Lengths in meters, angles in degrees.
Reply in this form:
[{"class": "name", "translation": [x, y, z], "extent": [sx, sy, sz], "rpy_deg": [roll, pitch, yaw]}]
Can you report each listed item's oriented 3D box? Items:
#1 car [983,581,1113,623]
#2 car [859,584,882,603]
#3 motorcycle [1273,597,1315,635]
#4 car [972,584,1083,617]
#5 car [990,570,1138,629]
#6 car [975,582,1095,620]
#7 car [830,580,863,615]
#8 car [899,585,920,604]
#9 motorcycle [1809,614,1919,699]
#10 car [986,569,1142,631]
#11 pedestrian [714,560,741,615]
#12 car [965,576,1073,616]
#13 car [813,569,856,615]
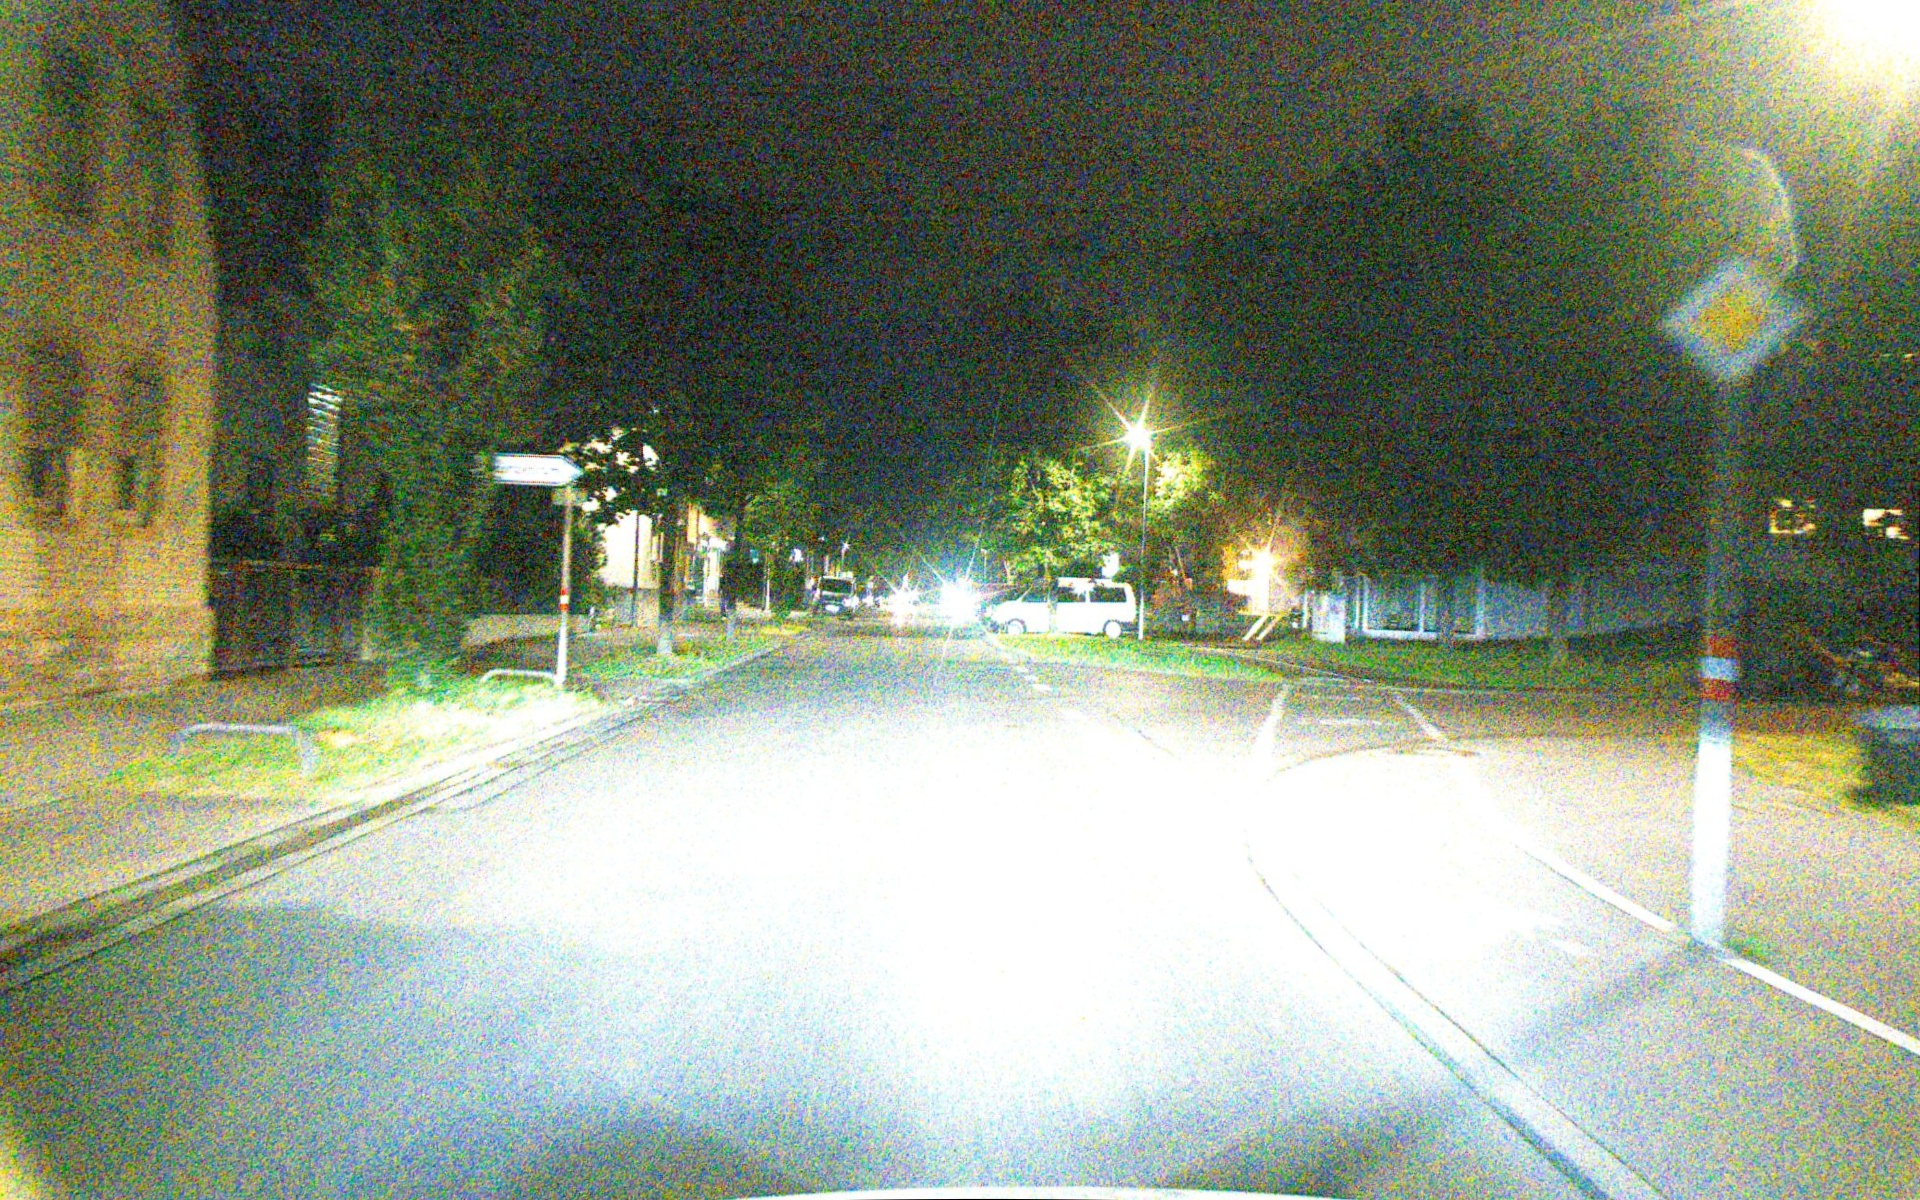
[{"class": "car", "translation": [3.538, 0.071, 67.000], "extent": [5.078, 1.622, 2.101], "rpy_deg": [0, 0, -3]}, {"class": "car", "translation": [-6.924, -0.512, 128.105], "extent": [1.649, 1.354, 3.598], "rpy_deg": [2, 0, -2]}, {"class": "motorcycle", "translation": [12.554, 0.580, 62.111], "extent": [1.048, 1.350, 2.706], "rpy_deg": [2, 1, 22]}, {"class": "car", "translation": [3.140, 0.024, 77.997], "extent": [5.078, 1.495, 2.101], "rpy_deg": [0, 0, -3]}, {"class": "car", "translation": [3.677, -0.018, 59.022], "extent": [5.078, 2.049, 2.101], "rpy_deg": [0, 0, -3]}, {"class": "car", "translation": [3.261, 0.030, 72.486], "extent": [5.078, 1.622, 2.101], "rpy_deg": [0, 0, -3]}, {"class": "car", "translation": [-5.903, -0.134, 86.398], "extent": [1.503, 1.717, 3.211], "rpy_deg": [3, 0, -2]}, {"class": "car", "translation": [-4.518, -0.506, 147.366], "extent": [1.888, 1.677, 3.820], "rpy_deg": [1, 1, -2]}, {"class": "motorcycle", "translation": [14.031, 0.840, 25.063], "extent": [2.222, 1.235, 0.708], "rpy_deg": [0, 1, -17]}, {"class": "car", "translation": [3.470, -0.012, 55.925], "extent": [5.078, 2.049, 2.101], "rpy_deg": [0, 0, -3]}, {"class": "pedestrian", "translation": [-8.855, -0.470, 62.965], "extent": [0.769, 2.048, 1.204], "rpy_deg": [3, 0, -1]}, {"class": "car", "translation": [2.895, -0.217, 80.680], "extent": [5.072, 1.920, 2.103], "rpy_deg": [0, 0, 8]}, {"class": "car", "translation": [-5.973, -0.403, 79.243], "extent": [1.788, 2.021, 4.464], "rpy_deg": [3, 0, -2]}]
